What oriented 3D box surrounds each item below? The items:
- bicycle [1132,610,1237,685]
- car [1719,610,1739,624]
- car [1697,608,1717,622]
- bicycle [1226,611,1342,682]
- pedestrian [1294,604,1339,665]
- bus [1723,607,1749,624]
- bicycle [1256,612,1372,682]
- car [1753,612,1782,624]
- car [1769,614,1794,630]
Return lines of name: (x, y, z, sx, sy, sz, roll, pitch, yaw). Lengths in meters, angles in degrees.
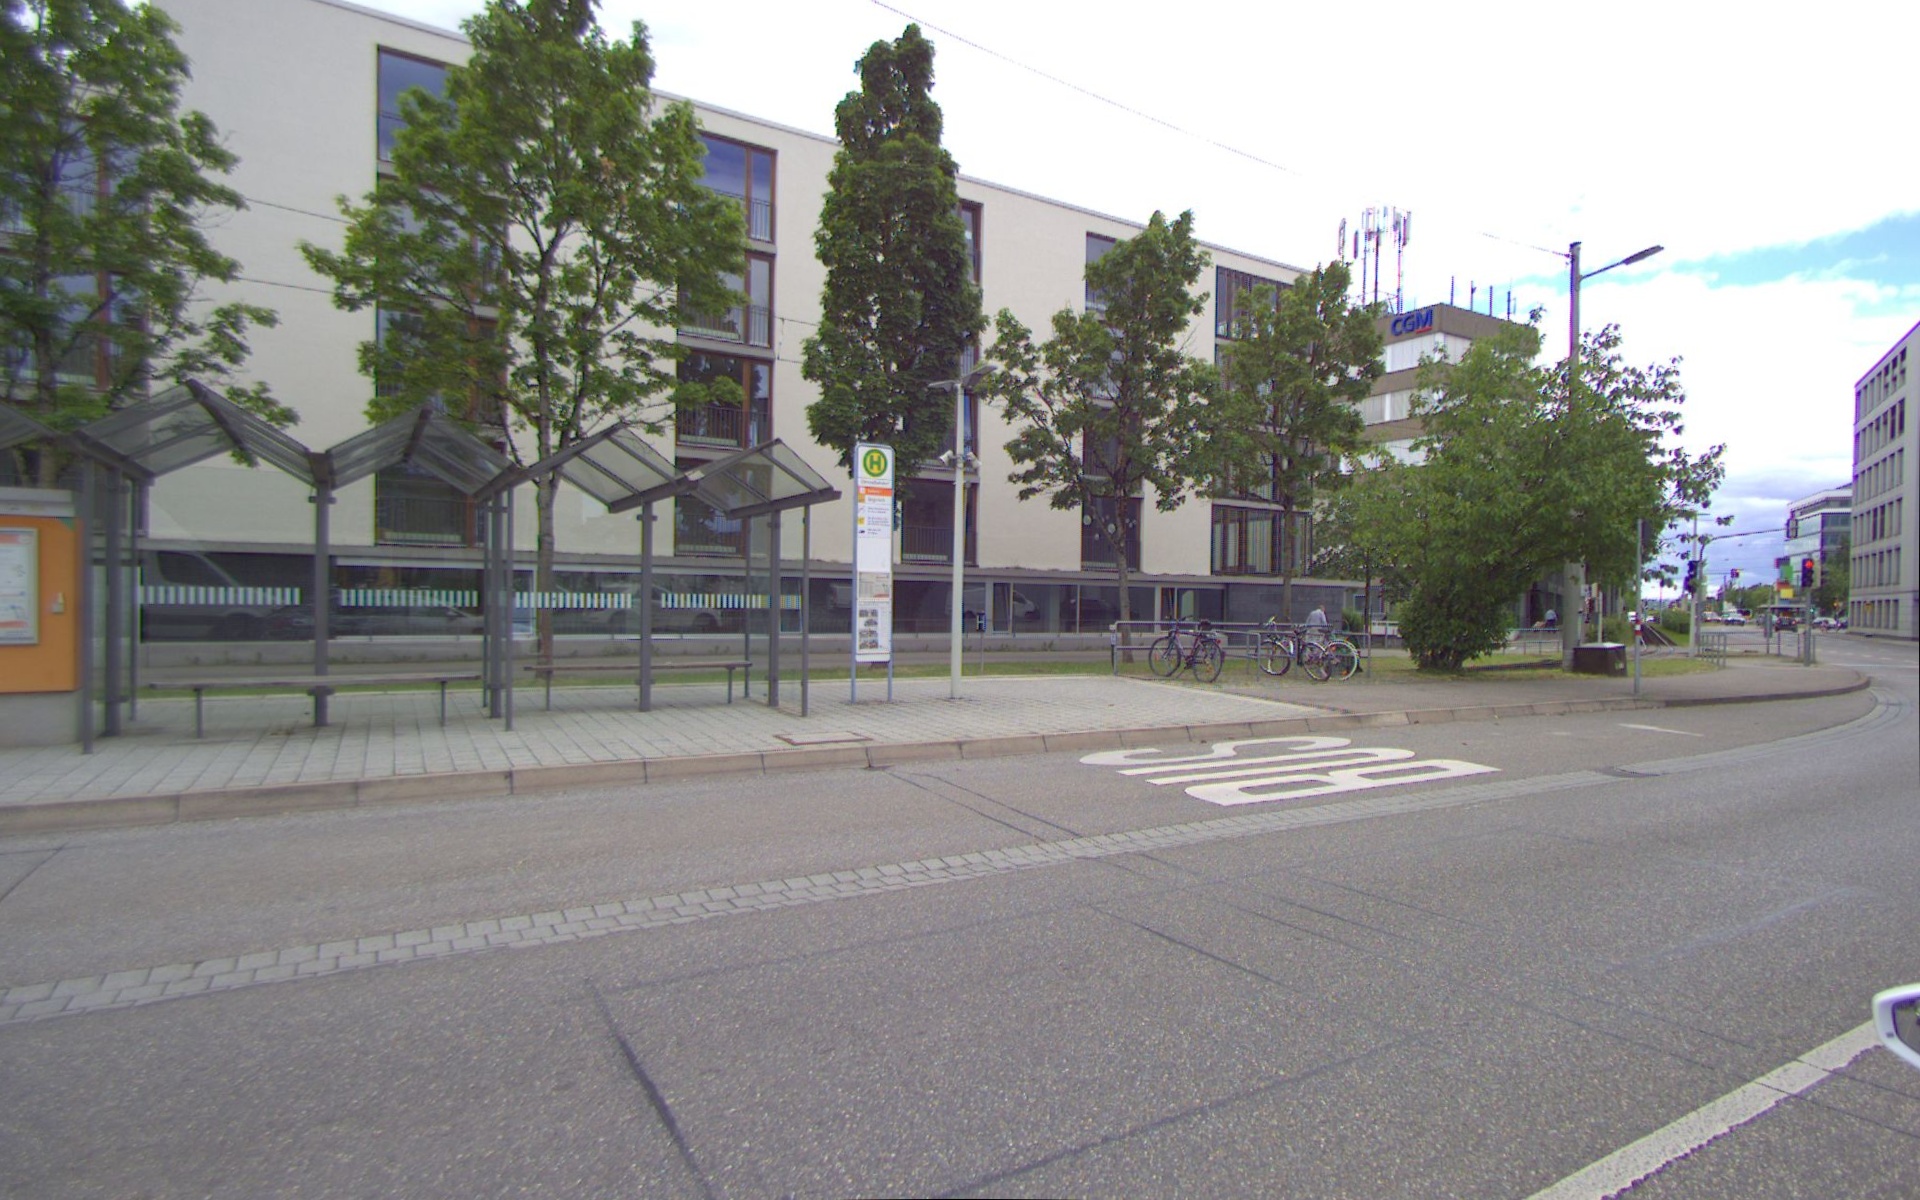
bicycle: (3.766, 0.773, 16.995, 0.580, 1.121, 1.919, 1, 1, -29)
car: (98.439, 2.133, 128.674, 1.827, 1.718, 3.987, 1, 0, 35)
car: (107.320, 2.143, 144.373, 1.825, 1.948, 3.991, 1, 0, 31)
bicycle: (5.748, 0.793, 17.941, 0.624, 1.121, 2.089, 1, 1, -29)
pedestrian: (10.888, 1.060, 30.665, 0.896, 1.788, 0.826, 2, 3, -31)
bus: (150.248, 2.958, 194.604, 3.040, 2.968, 10.312, 3, 2, 33)
bicycle: (6.393, 0.824, 18.272, 0.624, 1.121, 2.089, 1, 1, -29)
car: (111.277, 2.466, 138.450, 1.821, 1.650, 3.999, 1, 0, 20)
car: (85.249, 2.269, 104.253, 1.877, 1.506, 3.980, 1, 0, 41)
